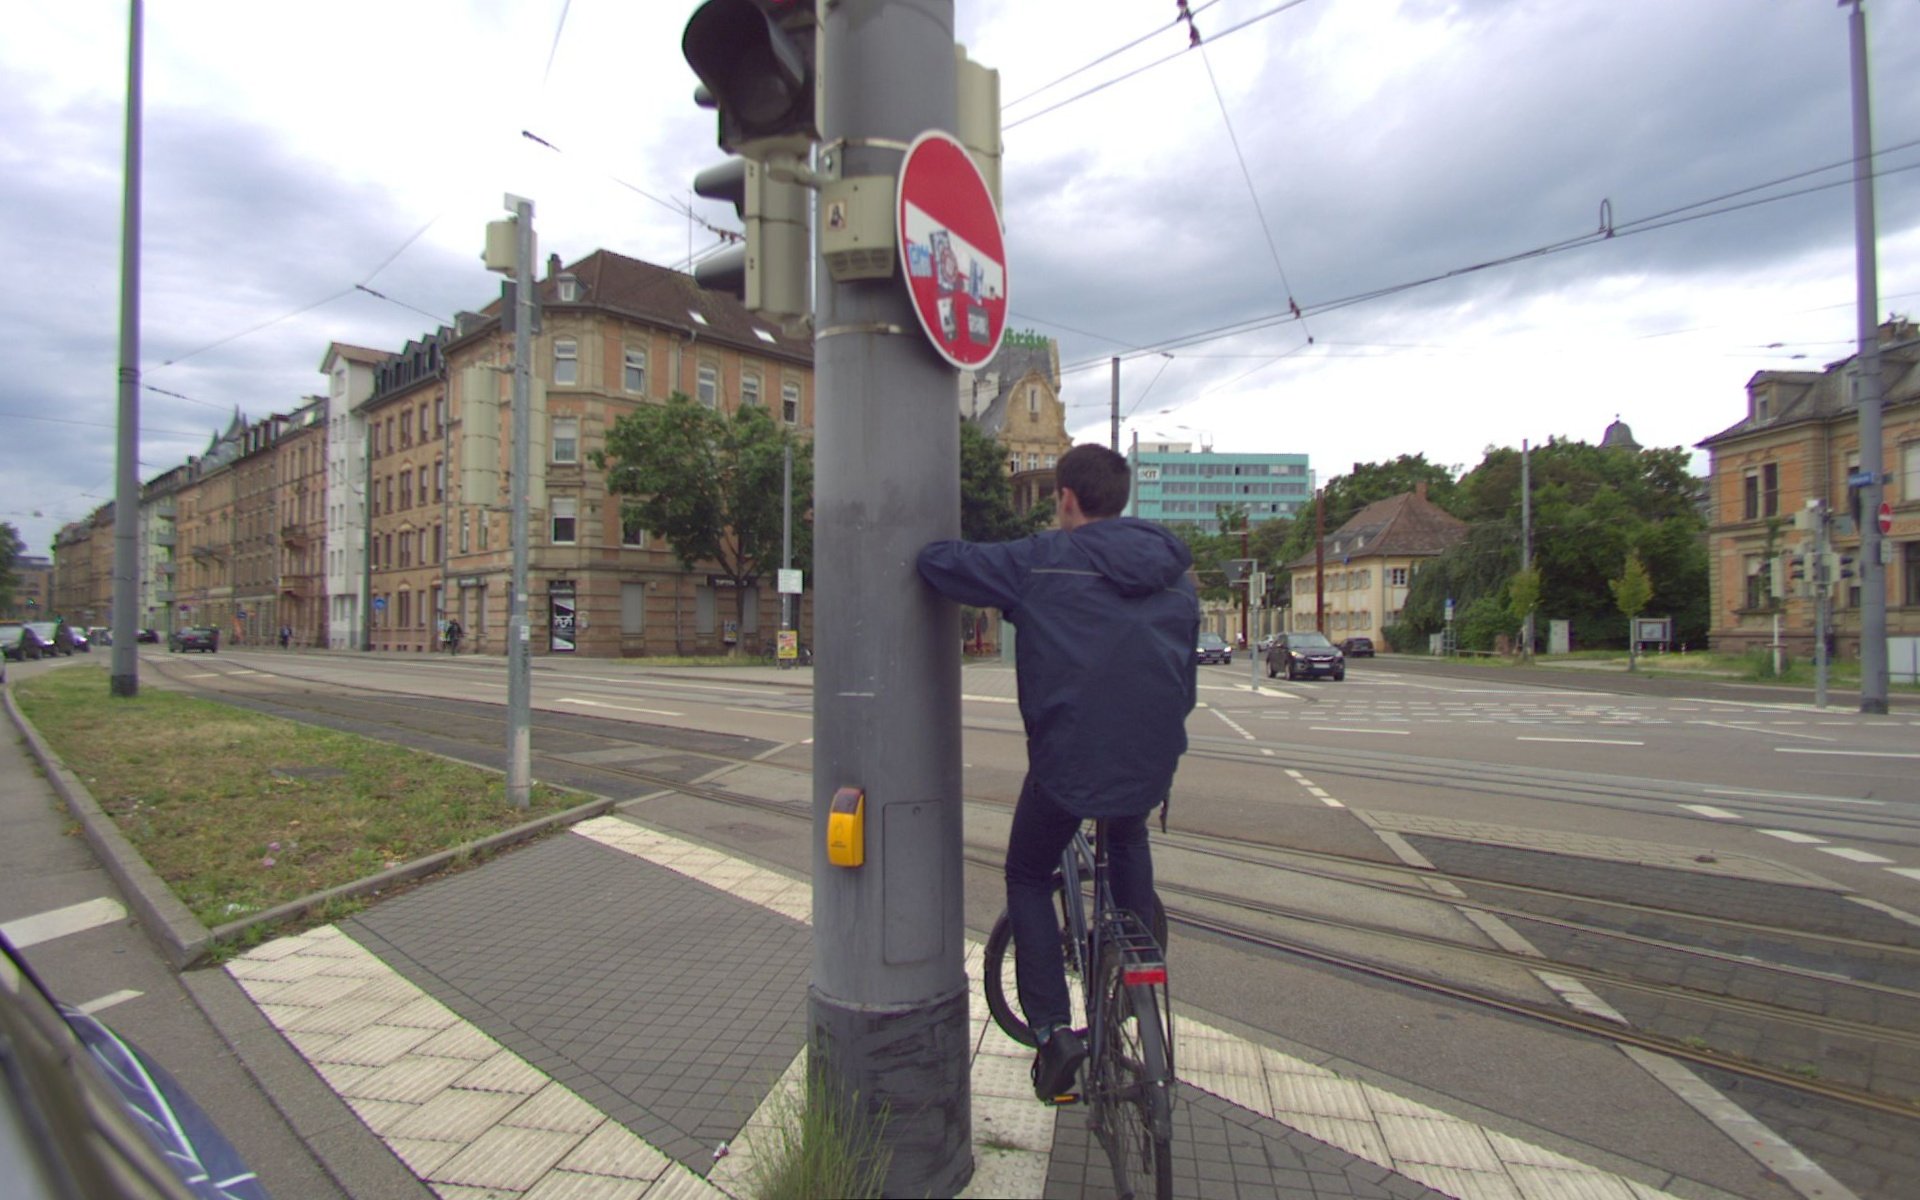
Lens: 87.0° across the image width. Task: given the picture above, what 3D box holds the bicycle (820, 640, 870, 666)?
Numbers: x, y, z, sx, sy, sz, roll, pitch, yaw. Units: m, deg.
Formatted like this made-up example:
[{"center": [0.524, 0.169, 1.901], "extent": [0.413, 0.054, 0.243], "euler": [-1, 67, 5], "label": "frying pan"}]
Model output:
[{"center": [-4.809, 2.215, 42.253], "extent": [2.397, 1.038, 0.744], "euler": [-2, -3, 44], "label": "bicycle"}]

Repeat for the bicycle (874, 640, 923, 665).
[{"center": [-2.704, 2.281, 44.345], "extent": [2.397, 1.038, 0.744], "euler": [-2, -3, 44], "label": "bicycle"}]

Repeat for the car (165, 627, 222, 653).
[{"center": [-45.373, 2.374, 59.898], "extent": [4.463, 1.481, 1.863], "euler": [-2, -3, 42], "label": "car"}]

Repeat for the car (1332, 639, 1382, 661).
[{"center": [27.705, 3.483, 70.696], "extent": [1.973, 1.442, 3.998], "euler": [0, -2, 1], "label": "car"}]

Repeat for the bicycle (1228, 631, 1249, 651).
[{"center": [25.046, 3.718, 91.223], "extent": [1.071, 1.763, 3.084], "euler": [0, -2, 1], "label": "bicycle"}]

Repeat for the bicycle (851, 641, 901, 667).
[{"center": [-3.623, 2.299, 43.334], "extent": [2.397, 1.038, 0.744], "euler": [-2, -3, 44], "label": "bicycle"}]

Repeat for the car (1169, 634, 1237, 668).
[{"center": [12.855, 2.666, 53.874], "extent": [2.131, 1.727, 4.927], "euler": [0, -2, -3], "label": "car"}]

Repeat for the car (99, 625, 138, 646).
[{"center": [-67.880, 2.830, 81.627], "extent": [4.230, 1.658, 1.811], "euler": [-2, -3, 42], "label": "car"}]

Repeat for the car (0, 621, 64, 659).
[{"center": [-45.784, 1.981, 49.800], "extent": [2.338, 1.768, 5.134], "euler": [2, -3, -43], "label": "car"}]

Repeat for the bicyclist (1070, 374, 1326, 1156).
[{"center": [0.542, 0.349, 2.498], "extent": [0.511, 1.652, 0.654], "euler": [0, -2, 5], "label": "bicyclist"}]

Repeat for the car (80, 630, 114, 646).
[{"center": [-77.304, 3.404, 90.592], "extent": [4.016, 1.442, 1.791], "euler": [-2, -3, 42], "label": "car"}]

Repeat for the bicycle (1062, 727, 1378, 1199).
[{"center": [0.556, 0.948, 2.661], "extent": [0.521, 1.078, 1.612], "euler": [0, -2, 4], "label": "bicycle"}]

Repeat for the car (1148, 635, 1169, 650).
[{"center": [26.122, 5.558, 133.291], "extent": [1.973, 1.863, 3.998], "euler": [0, -2, 1], "label": "car"}]

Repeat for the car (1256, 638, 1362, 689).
[{"center": [11.844, 2.109, 34.666], "extent": [1.970, 1.623, 4.247], "euler": [0, -2, -3], "label": "car"}]

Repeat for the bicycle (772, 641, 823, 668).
[{"center": [-6.549, 2.187, 40.740], "extent": [2.397, 1.038, 0.744], "euler": [-2, -3, 44], "label": "bicycle"}]

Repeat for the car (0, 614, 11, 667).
[{"center": [-39.308, 1.604, 40.337], "extent": [4.002, 2.029, 1.971], "euler": [-2, -3, 45], "label": "car"}]

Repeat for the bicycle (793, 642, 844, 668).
[{"center": [-5.842, 2.250, 41.579], "extent": [2.397, 1.038, 0.744], "euler": [-2, -3, 44], "label": "bicycle"}]

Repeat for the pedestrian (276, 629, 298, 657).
[{"center": [-43.857, 2.804, 65.945], "extent": [0.712, 1.846, 0.917], "euler": [0, -2, 8], "label": "pedestrian"}]

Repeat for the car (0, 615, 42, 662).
[{"center": [-42.857, 1.737, 45.592], "extent": [4.002, 2.029, 1.971], "euler": [-2, -3, 45], "label": "car"}]

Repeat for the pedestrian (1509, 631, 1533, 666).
[{"center": [30.430, 2.619, 54.891], "extent": [0.798, 1.846, 0.849], "euler": [0, -2, -1], "label": "pedestrian"}]

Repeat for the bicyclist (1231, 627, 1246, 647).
[{"center": [25.036, 3.292, 91.039], "extent": [1.078, 1.796, 1.016], "euler": [0, -2, 1], "label": "bicyclist"}]

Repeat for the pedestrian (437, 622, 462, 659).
[{"center": [-23.842, 1.875, 47.264], "extent": [0.798, 1.688, 0.801], "euler": [-2, -3, 40], "label": "pedestrian"}]

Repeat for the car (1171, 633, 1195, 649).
[{"center": [26.088, 4.778, 118.443], "extent": [1.973, 1.863, 3.998], "euler": [0, -2, 1], "label": "car"}]

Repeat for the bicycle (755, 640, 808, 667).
[{"center": [-7.106, 2.114, 40.185], "extent": [2.397, 1.038, 0.825], "euler": [-2, -3, 44], "label": "bicycle"}]

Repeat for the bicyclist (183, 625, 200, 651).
[{"center": [-55.834, 2.750, 73.563], "extent": [0.924, 1.881, 0.812], "euler": [-2, -3, 44], "label": "bicyclist"}]
